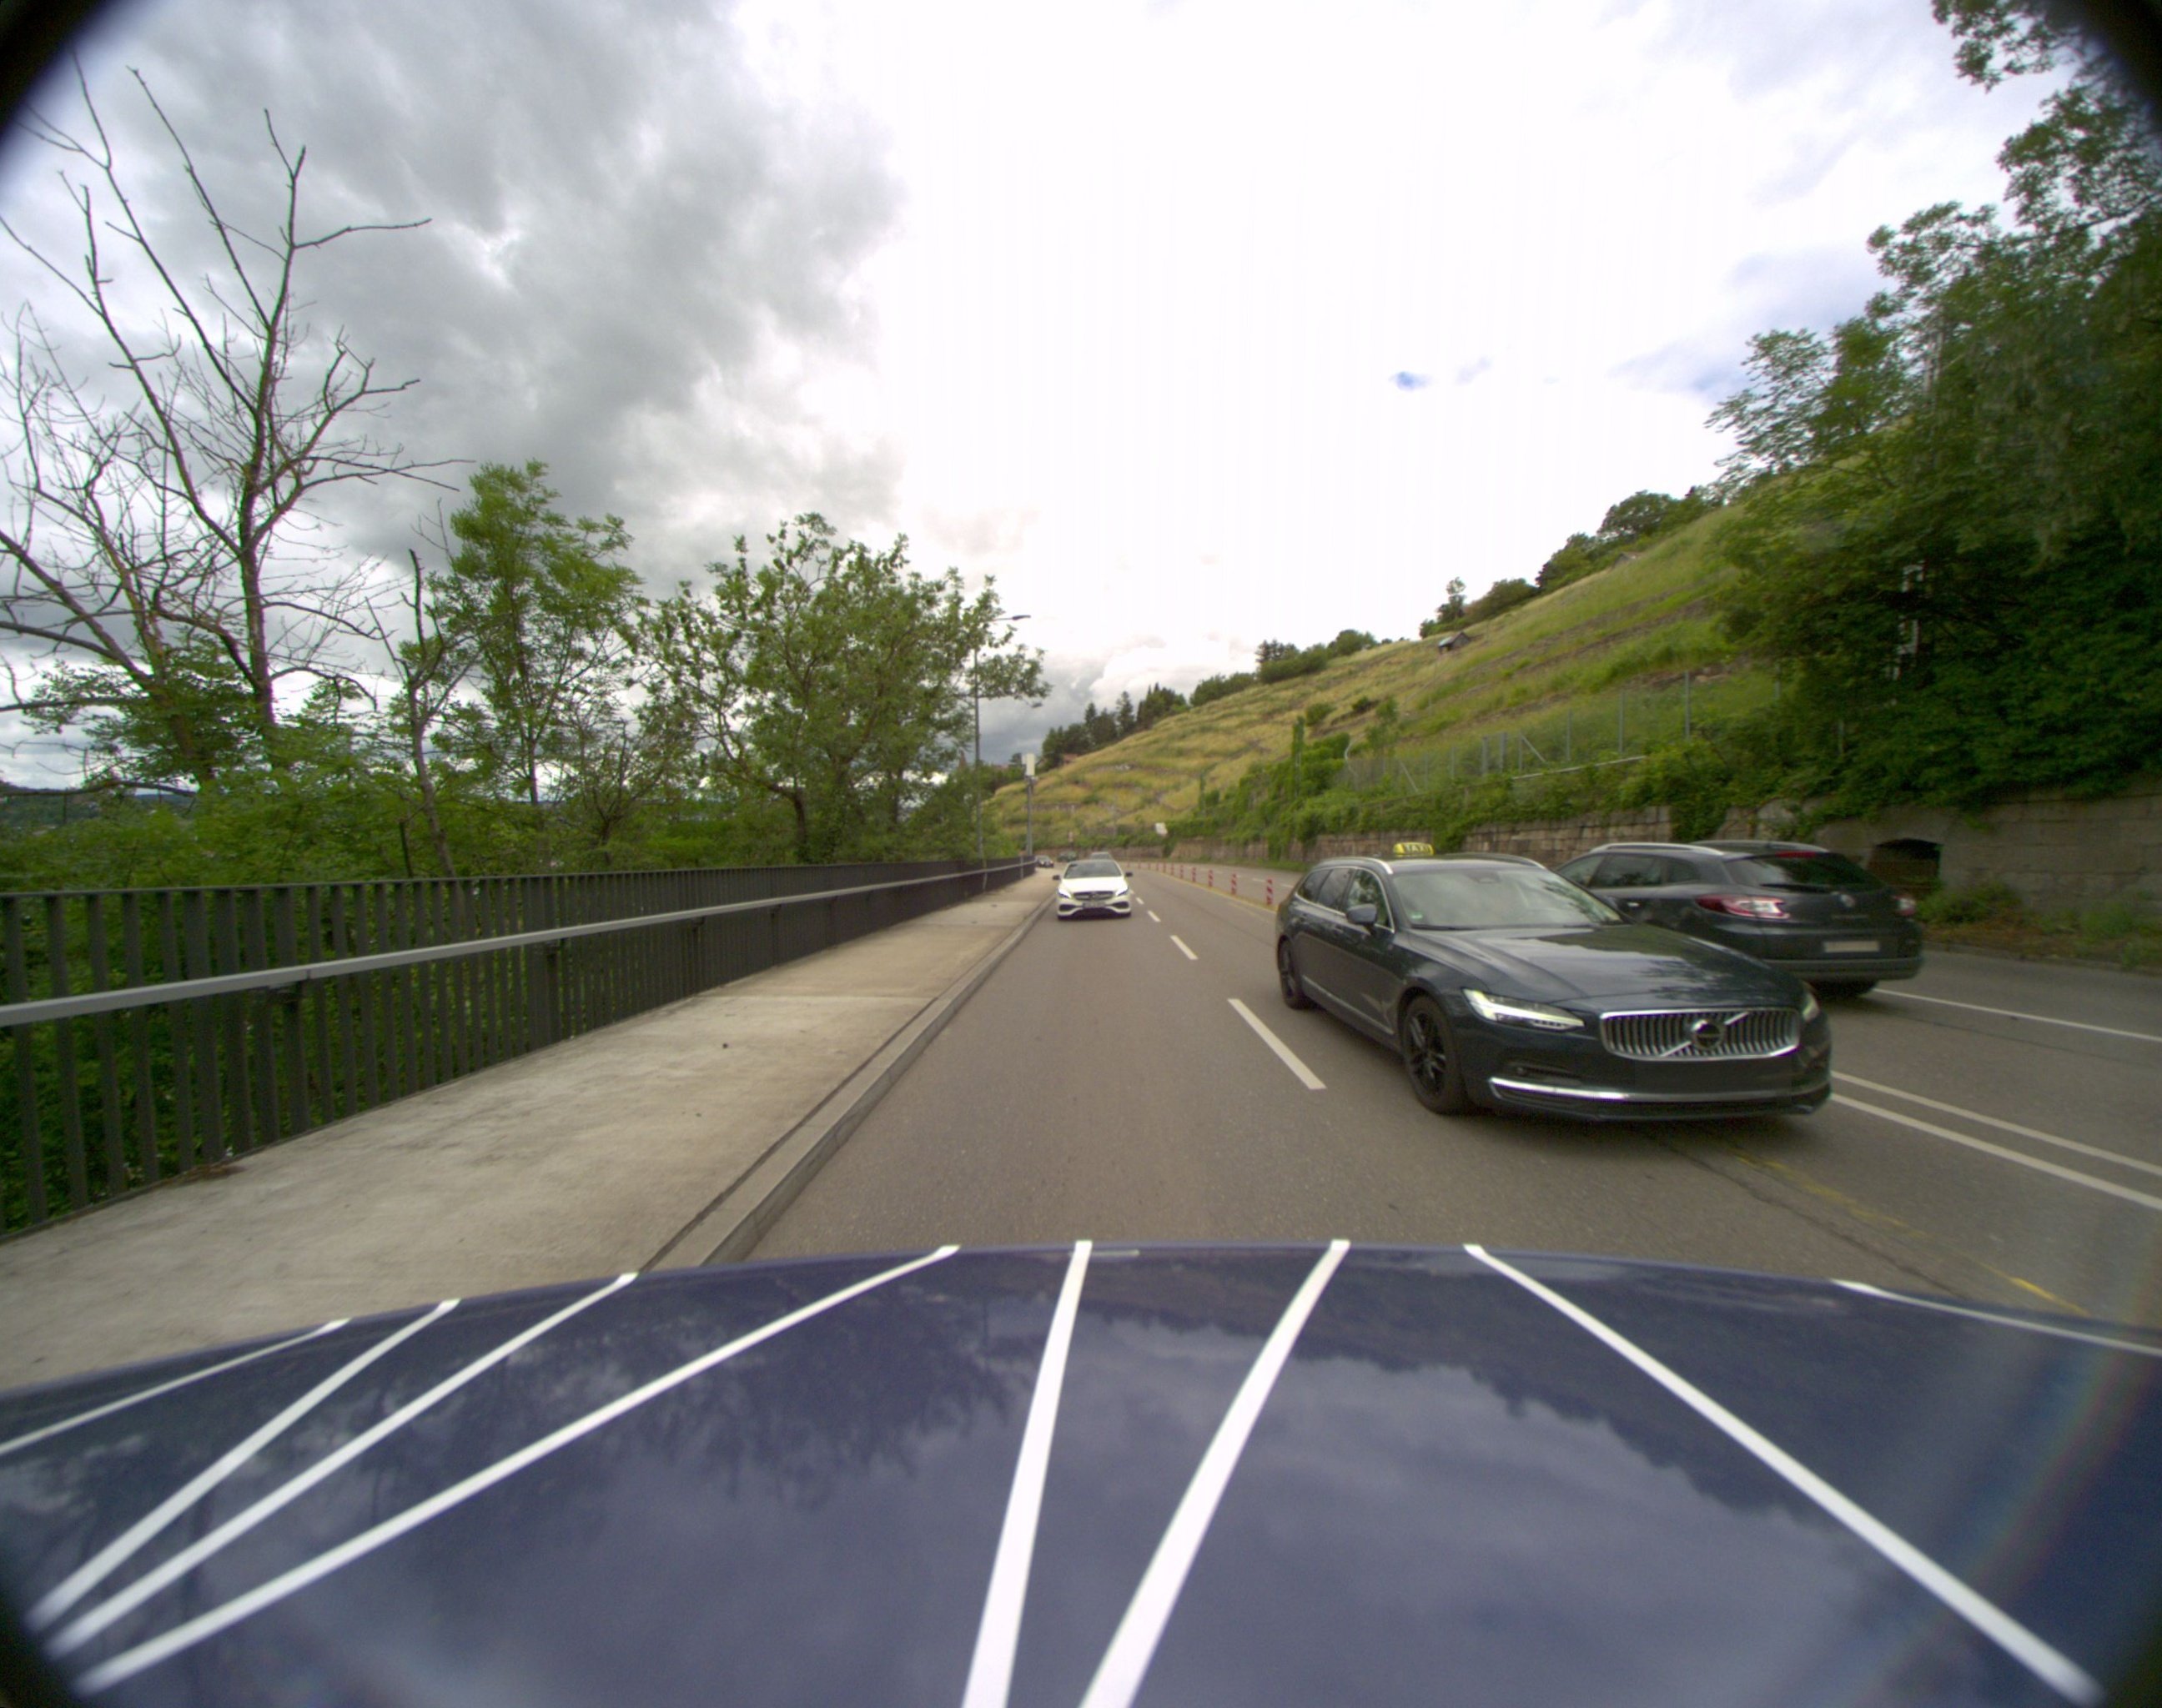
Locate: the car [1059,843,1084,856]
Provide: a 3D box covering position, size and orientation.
[{"bbox_3d":[-1.379,-0.585,105.747,1.916,1.682,3.992,-4,1,-25],"label":"car"}]

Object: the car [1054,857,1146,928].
[{"bbox_3d":[0.462,0.877,18.582,1.903,1.418,4.266,-4,-1,1],"label":"car"}]

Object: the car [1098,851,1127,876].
[{"bbox_3d":[1.981,0.557,48.197,1.644,1.381,4.000,-3,1,2],"label":"car"}]

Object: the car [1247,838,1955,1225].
[{"bbox_3d":[2.786,0.752,5.783,1.939,1.567,5.026,-3,0,1],"label":"car"}]

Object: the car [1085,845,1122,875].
[{"bbox_3d":[1.337,0.328,45.590,1.998,1.580,4.000,-3,1,2],"label":"car"}]

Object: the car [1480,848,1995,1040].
[{"bbox_3d":[6.317,0.697,8.157,1.861,1.437,4.295,-2,1,1],"label":"car"}]

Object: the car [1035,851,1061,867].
[{"bbox_3d":[-3.781,0.541,86.771,2.001,1.756,3.994,-2,0,-16],"label":"car"}]
